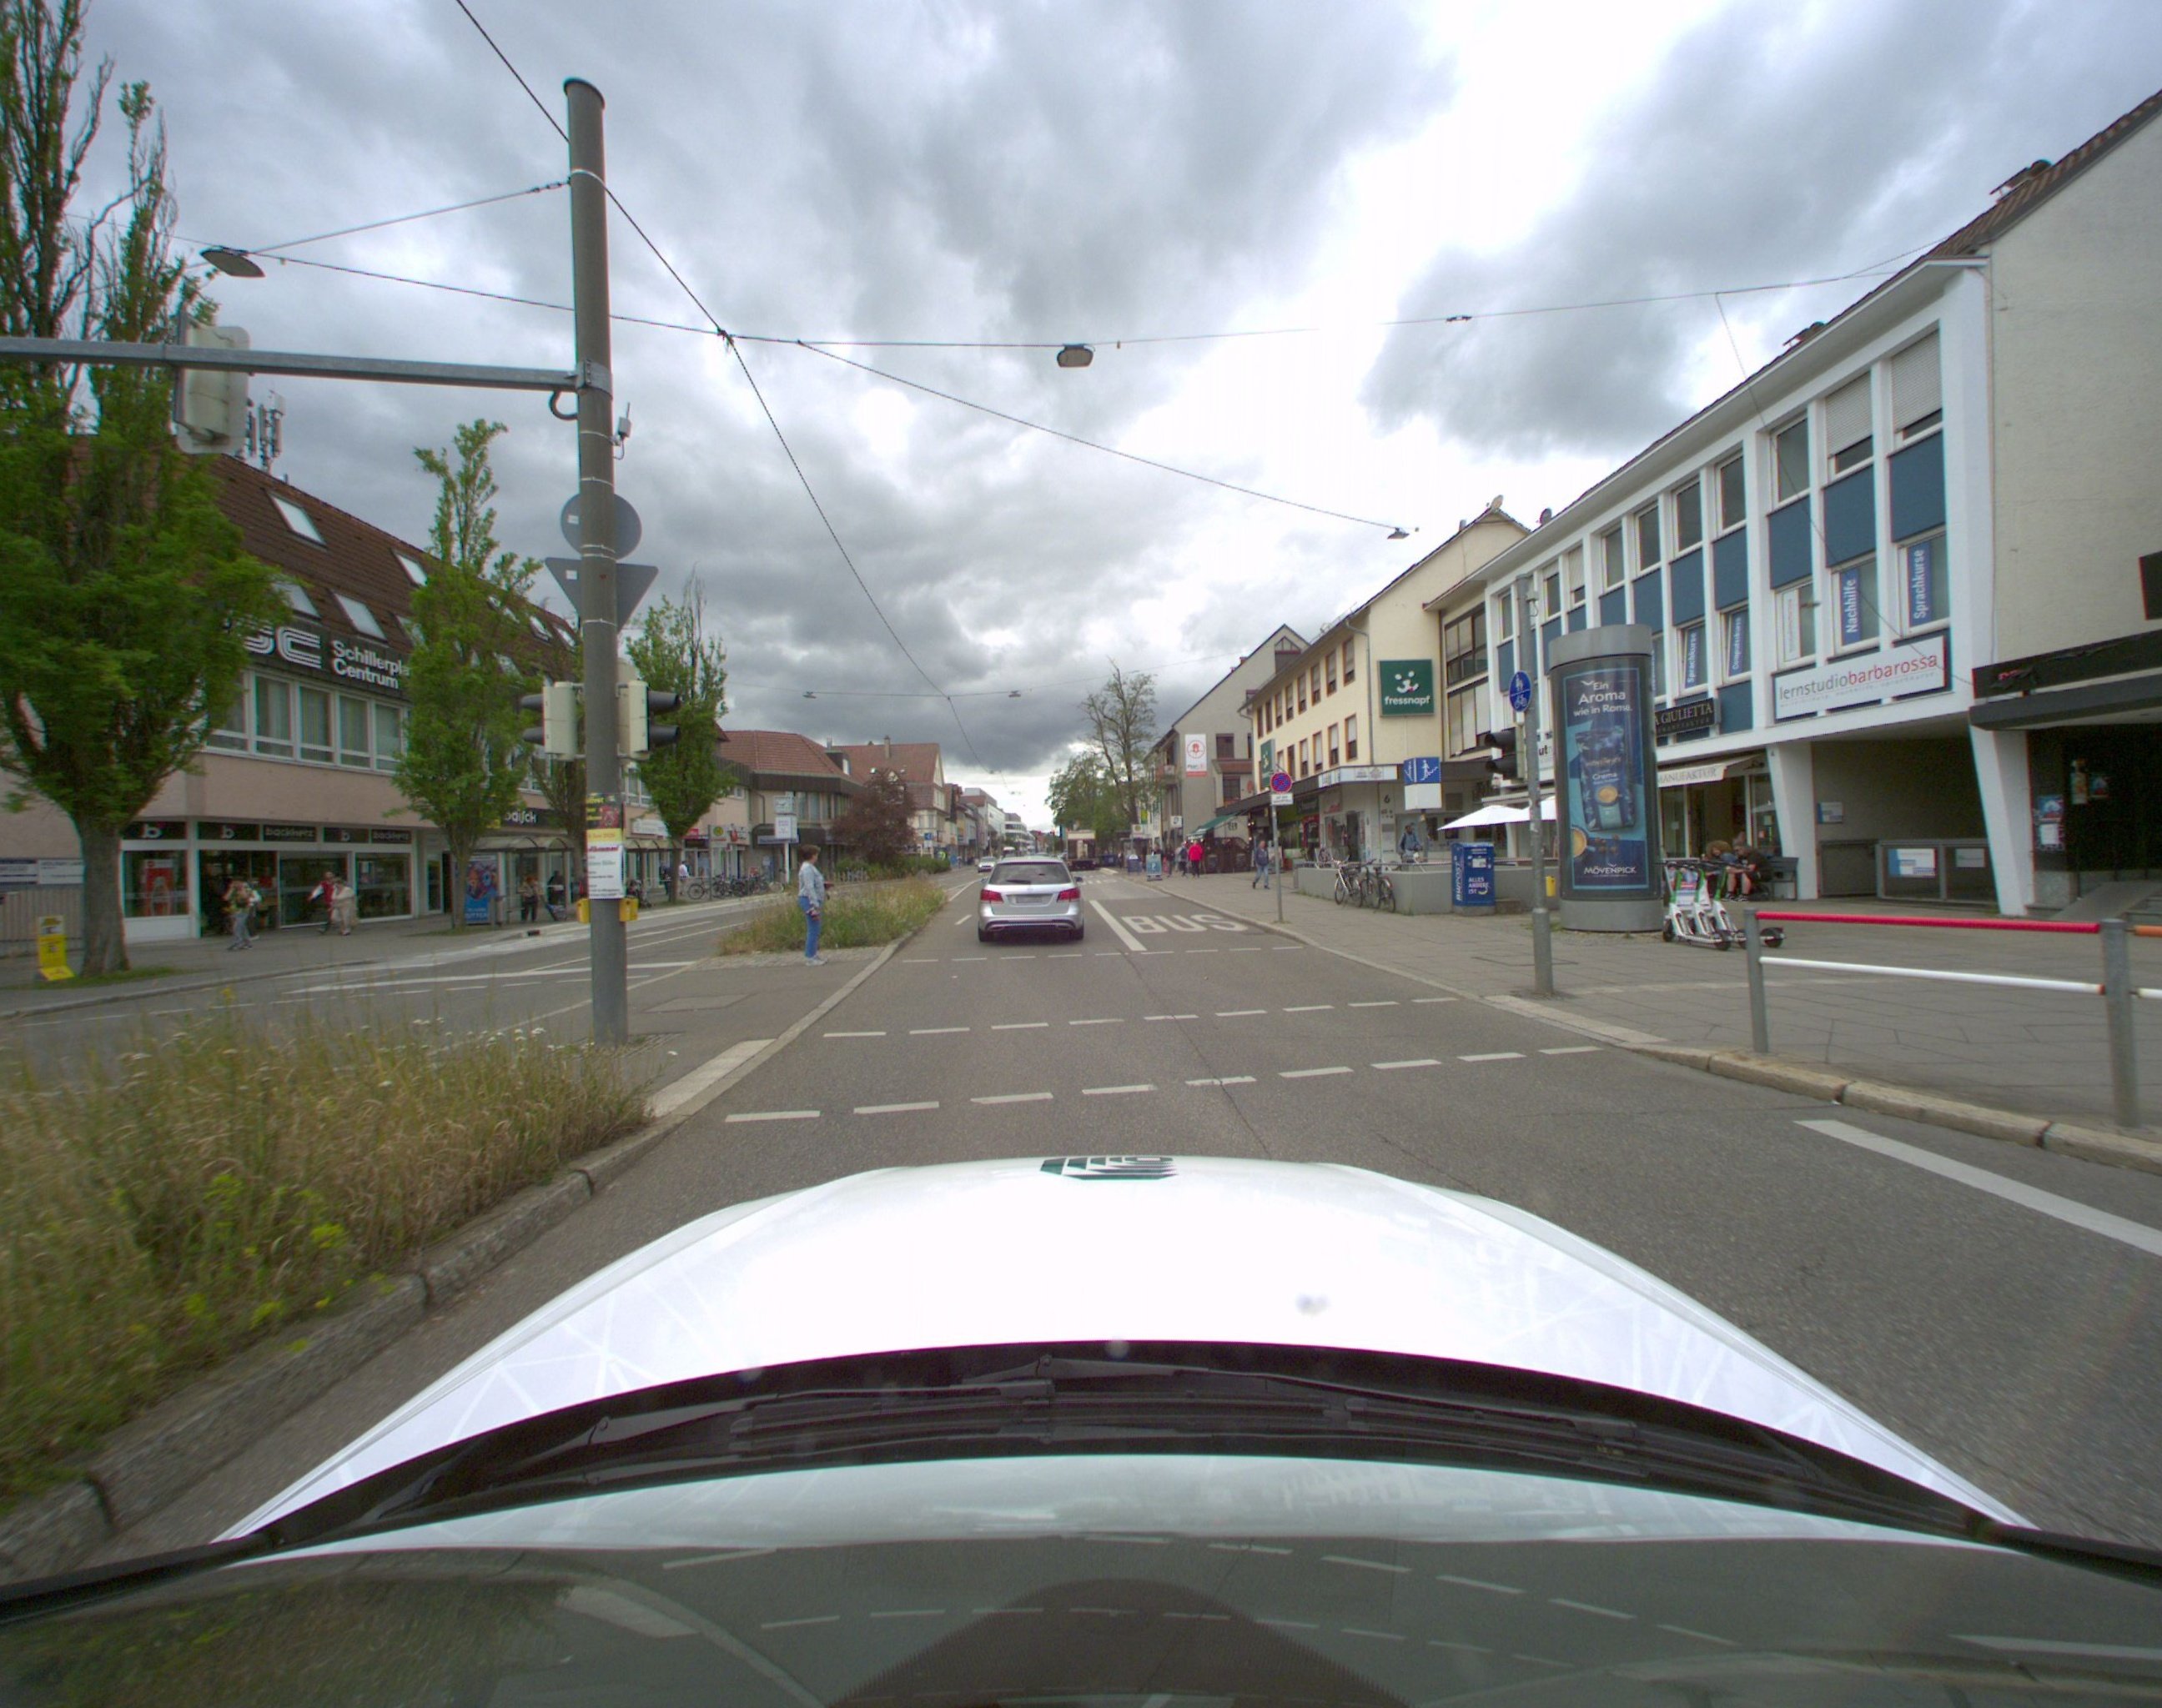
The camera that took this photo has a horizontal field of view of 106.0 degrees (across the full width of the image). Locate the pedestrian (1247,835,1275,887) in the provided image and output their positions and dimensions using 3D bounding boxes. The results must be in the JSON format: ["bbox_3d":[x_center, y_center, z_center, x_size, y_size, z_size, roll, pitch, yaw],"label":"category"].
[{"bbox_3d":[5.930,0.223,26.837,0.685,1.634,0.853,-2,0,1],"label":"pedestrian"}]

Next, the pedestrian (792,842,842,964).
[{"bbox_3d":[-3.677,0.655,11.368,0.502,1.634,0.661,-2,0,-8],"label":"pedestrian"}]

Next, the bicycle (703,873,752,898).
[{"bbox_3d":[-17.106,1.508,39.468,2.016,1.090,0.647,-2,0,-7],"label":"bicycle"}]

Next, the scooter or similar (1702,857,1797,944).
[{"bbox_3d":[9.402,0.628,11.493,0.313,1.132,1.208,-2,0,0],"label":"scooter or similar"}]

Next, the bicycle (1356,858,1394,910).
[{"bbox_3d":[6.318,0.621,17.525,0.272,1.053,1.387,-2,0,0],"label":"bicycle"}]

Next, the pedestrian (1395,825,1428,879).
[{"bbox_3d":[10.383,-0.066,25.612,0.664,1.634,0.800,-2,0,-1],"label":"pedestrian"}]

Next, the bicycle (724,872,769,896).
[{"bbox_3d":[-17.141,1.527,41.729,2.019,1.090,0.646,-2,0,-12],"label":"bicycle"}]

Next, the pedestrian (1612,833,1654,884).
[{"bbox_3d":[13.566,0.100,20.028,0.612,1.220,0.587,1,0,-4],"label":"pedestrian"}]

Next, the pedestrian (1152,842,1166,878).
[{"bbox_3d":[3.735,0.273,39.009,0.610,1.678,0.615,1,0,0],"label":"pedestrian"}]

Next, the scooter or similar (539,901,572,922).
[{"bbox_3d":[-16.844,1.826,26.128,0.590,0.601,0.702,-2,0,-3],"label":"scooter or similar"}]

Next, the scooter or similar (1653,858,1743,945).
[{"bbox_3d":[8.661,0.632,11.476,0.313,1.132,1.208,-2,0,0],"label":"scooter or similar"}]

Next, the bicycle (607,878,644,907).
[{"bbox_3d":[-18.662,1.572,33.431,0.532,1.090,1.928,-1,0,-4],"label":"bicycle"}]

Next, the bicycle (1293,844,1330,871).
[{"bbox_3d":[9.794,0.147,34.723,0.739,1.062,2.348,-3,0,-3],"label":"bicycle"}]

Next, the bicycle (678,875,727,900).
[{"bbox_3d":[-17.871,1.557,38.507,2.022,1.090,0.645,-1,0,-16],"label":"bicycle"}]

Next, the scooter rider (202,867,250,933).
[{"bbox_3d":[-22.904,1.217,21.825,0.612,1.712,0.587,1,0,-5],"label":"scooter rider"}]

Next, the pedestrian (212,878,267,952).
[{"bbox_3d":[-19.222,1.372,18.617,0.585,1.634,0.614,1,0,-4],"label":"pedestrian"}]

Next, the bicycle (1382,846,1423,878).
[{"bbox_3d":[10.091,0.253,25.568,0.275,0.974,1.376,-2,0,-24],"label":"bicycle"}]

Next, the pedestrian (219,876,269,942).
[{"bbox_3d":[-21.148,1.378,20.583,0.585,1.634,0.614,1,0,-4],"label":"pedestrian"}]

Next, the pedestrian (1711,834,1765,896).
[{"bbox_3d":[13.315,0.216,16.522,0.612,1.220,0.587,1,0,-4],"label":"pedestrian"}]

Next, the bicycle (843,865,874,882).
[{"bbox_3d":[-15.522,1.362,56.850,2.019,1.090,0.646,-2,0,-12],"label":"bicycle"}]

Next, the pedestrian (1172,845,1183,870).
[{"bbox_3d":[6.339,0.240,53.377,0.584,1.634,0.615,-2,0,-1],"label":"pedestrian"}]

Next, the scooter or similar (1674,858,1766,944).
[{"bbox_3d":[9.006,0.632,11.520,0.313,1.132,1.208,-2,0,0],"label":"scooter or similar"}]

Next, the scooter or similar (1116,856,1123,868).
[{"bbox_3d":[3.020,0.619,64.295,0.387,0.959,0.351,-2,0,-43],"label":"scooter or similar"}]

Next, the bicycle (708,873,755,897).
[{"bbox_3d":[-17.377,1.511,40.511,2.019,1.090,0.646,-2,0,-12],"label":"bicycle"}]

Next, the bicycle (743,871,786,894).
[{"bbox_3d":[-16.811,1.498,43.328,2.019,1.090,0.646,-2,0,-12],"label":"bicycle"}]

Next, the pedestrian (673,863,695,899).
[{"bbox_3d":[-19.881,1.363,40.774,0.724,1.764,0.754,1,0,-4],"label":"pedestrian"}]

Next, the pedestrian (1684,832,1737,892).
[{"bbox_3d":[13.247,0.163,17.149,0.612,1.220,0.587,-3,1,-4],"label":"pedestrian"}]

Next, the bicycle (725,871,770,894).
[{"bbox_3d":[-17.343,1.501,42.415,2.019,1.090,0.646,-2,0,-12],"label":"bicycle"}]

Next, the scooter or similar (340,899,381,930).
[{"bbox_3d":[-21.318,1.791,24.104,0.590,0.848,0.702,-2,0,-3],"label":"scooter or similar"}]

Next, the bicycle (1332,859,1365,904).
[{"bbox_3d":[6.228,0.625,19.014,0.272,0.974,1.387,-2,0,0],"label":"bicycle"}]

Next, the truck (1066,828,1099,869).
[{"bbox_3d":[0.063,-0.499,75.895,2.681,3.561,9.759,-2,0,-2],"label":"truck"}]

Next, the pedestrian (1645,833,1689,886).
[{"bbox_3d":[13.915,0.116,19.340,0.612,1.220,0.587,-1,0,-4],"label":"pedestrian"}]
